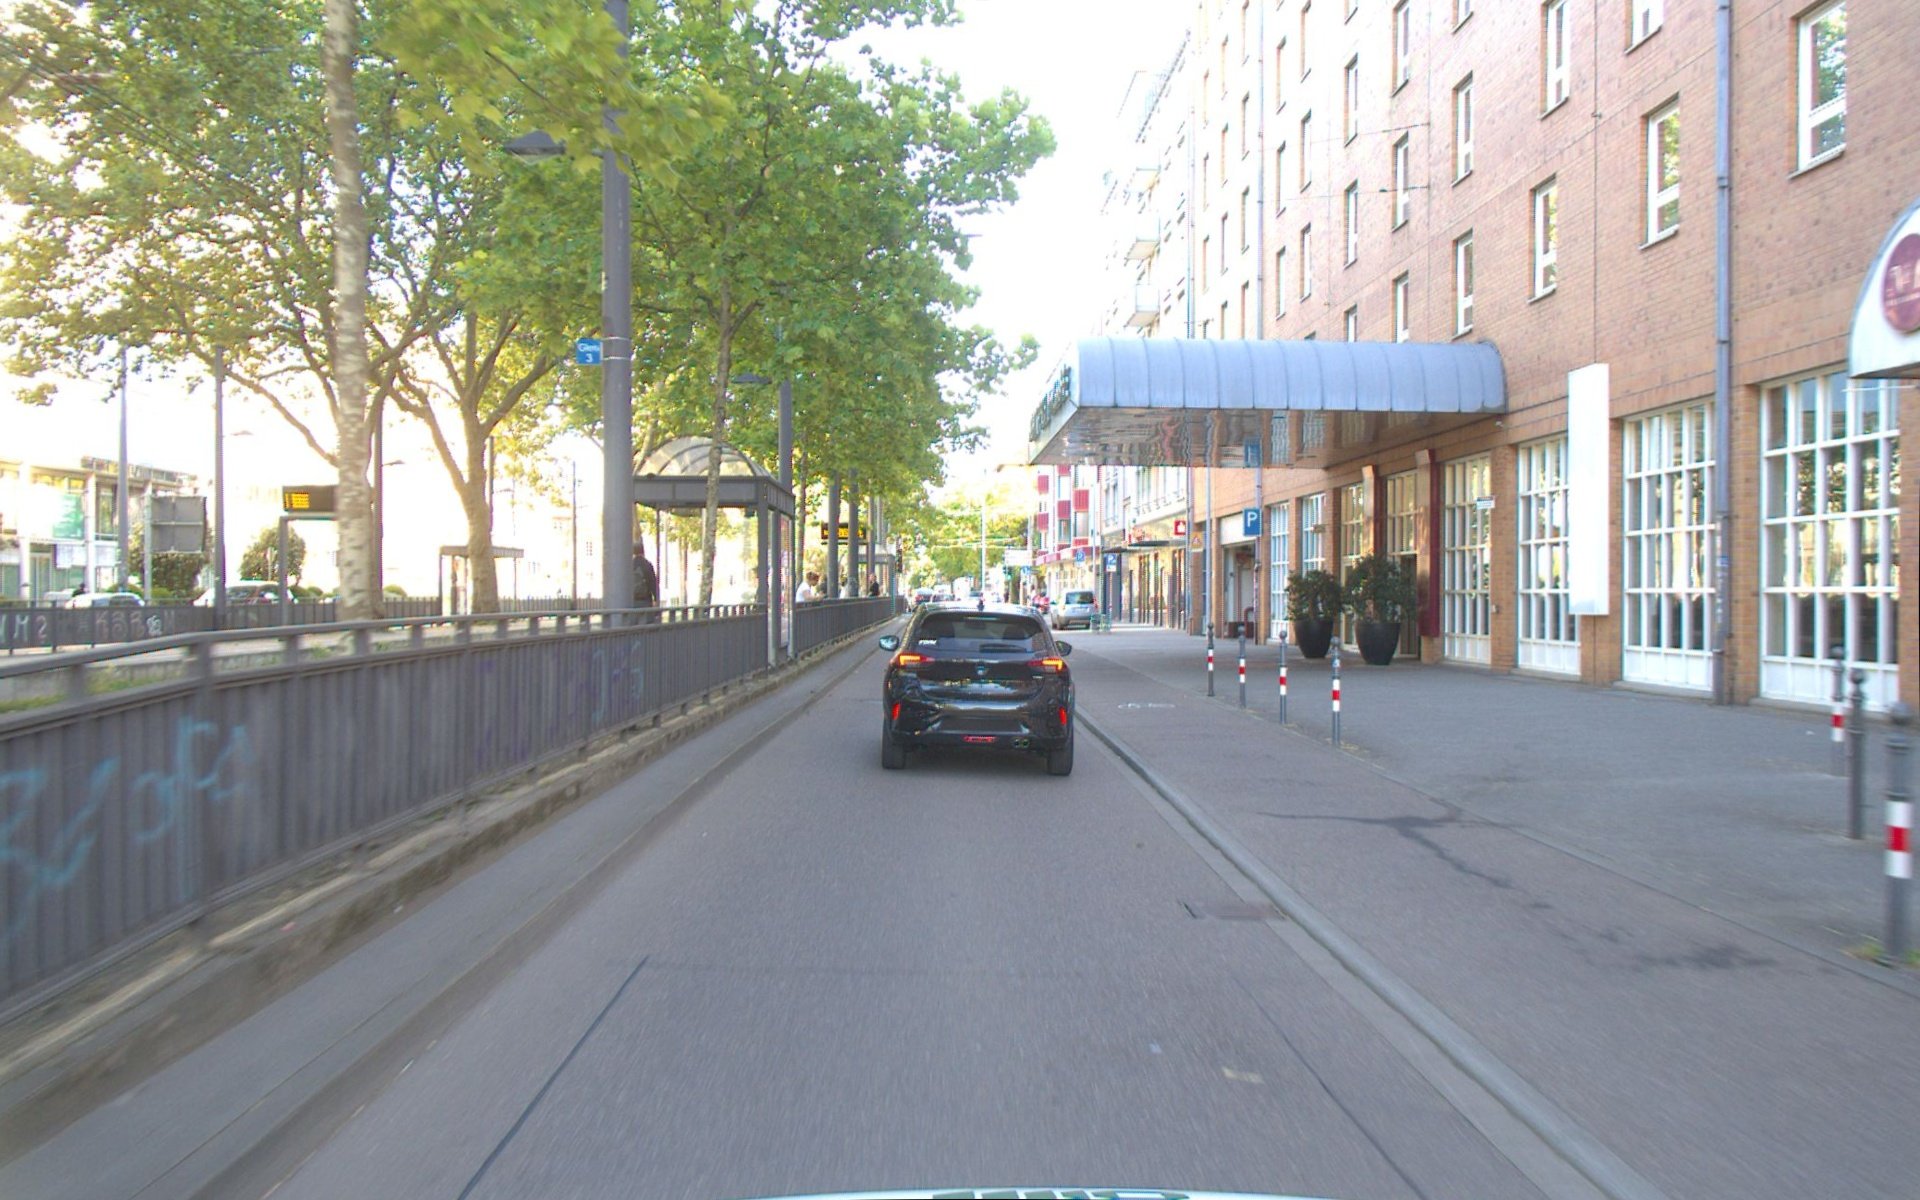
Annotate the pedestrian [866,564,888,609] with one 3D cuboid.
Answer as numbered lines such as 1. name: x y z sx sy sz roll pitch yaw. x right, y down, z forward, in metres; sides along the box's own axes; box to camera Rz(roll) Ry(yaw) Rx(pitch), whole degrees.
1. pedestrian: -2.764 -0.456 55.011 0.708 1.470 0.626 0 0 -4

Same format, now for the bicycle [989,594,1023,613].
1. bicycle: 3.182 0.252 113.873 2.307 1.255 0.684 0 0 1

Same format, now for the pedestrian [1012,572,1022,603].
1. pedestrian: 5.480 -1.215 158.372 0.898 2.922 1.150 0 0 -2

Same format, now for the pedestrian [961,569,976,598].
1. pedestrian: 0.826 -1.672 166.058 1.136 2.922 0.909 0 0 -34

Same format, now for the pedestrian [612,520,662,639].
1. pedestrian: -4.719 -0.300 24.208 0.592 1.709 0.486 -2 0 -1

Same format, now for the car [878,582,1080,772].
1. car: 0.285 0.658 15.492 1.637 1.528 3.692 1 -1 4

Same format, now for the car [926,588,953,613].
1. car: -1.275 0.033 101.753 1.581 1.528 3.690 0 0 -1

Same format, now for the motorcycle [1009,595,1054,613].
1. motorcycle: 4.349 0.222 100.756 1.291 1.077 3.066 0 1 -30

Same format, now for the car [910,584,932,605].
1. car: -2.820 -0.426 120.154 1.581 1.528 3.690 0 0 -1

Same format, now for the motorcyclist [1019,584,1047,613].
1. motorcyclist: 4.444 -0.107 100.606 1.291 1.727 1.224 0 0 -31

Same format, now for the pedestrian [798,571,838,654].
1. pedestrian: -2.562 0.223 29.852 0.708 1.470 0.626 0 0 -4

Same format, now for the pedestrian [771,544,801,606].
1. pedestrian: -3.938 -0.558 37.477 0.592 1.389 0.486 -2 0 -1

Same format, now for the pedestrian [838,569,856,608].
1. pedestrian: -4.085 -0.429 59.992 0.592 1.389 0.486 -2 0 -1

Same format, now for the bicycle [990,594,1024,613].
1. bicycle: 3.190 0.226 112.149 2.307 1.255 0.684 0 0 1

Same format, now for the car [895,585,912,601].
1. car: -5.368 -0.643 156.809 1.581 1.528 3.690 0 0 -1

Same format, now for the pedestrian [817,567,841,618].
1. pedestrian: -3.618 -0.211 45.654 0.592 1.389 0.486 -2 0 -1

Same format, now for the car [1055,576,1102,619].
1. car: 4.764 -0.113 66.746 1.637 1.681 3.691 0 0 0

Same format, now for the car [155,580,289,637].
1. car: -19.217 0.225 43.261 1.631 1.431 4.001 0 0 1

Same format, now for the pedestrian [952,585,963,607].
1. pedestrian: -0.182 -0.325 139.889 0.898 1.806 1.150 0 0 -3
